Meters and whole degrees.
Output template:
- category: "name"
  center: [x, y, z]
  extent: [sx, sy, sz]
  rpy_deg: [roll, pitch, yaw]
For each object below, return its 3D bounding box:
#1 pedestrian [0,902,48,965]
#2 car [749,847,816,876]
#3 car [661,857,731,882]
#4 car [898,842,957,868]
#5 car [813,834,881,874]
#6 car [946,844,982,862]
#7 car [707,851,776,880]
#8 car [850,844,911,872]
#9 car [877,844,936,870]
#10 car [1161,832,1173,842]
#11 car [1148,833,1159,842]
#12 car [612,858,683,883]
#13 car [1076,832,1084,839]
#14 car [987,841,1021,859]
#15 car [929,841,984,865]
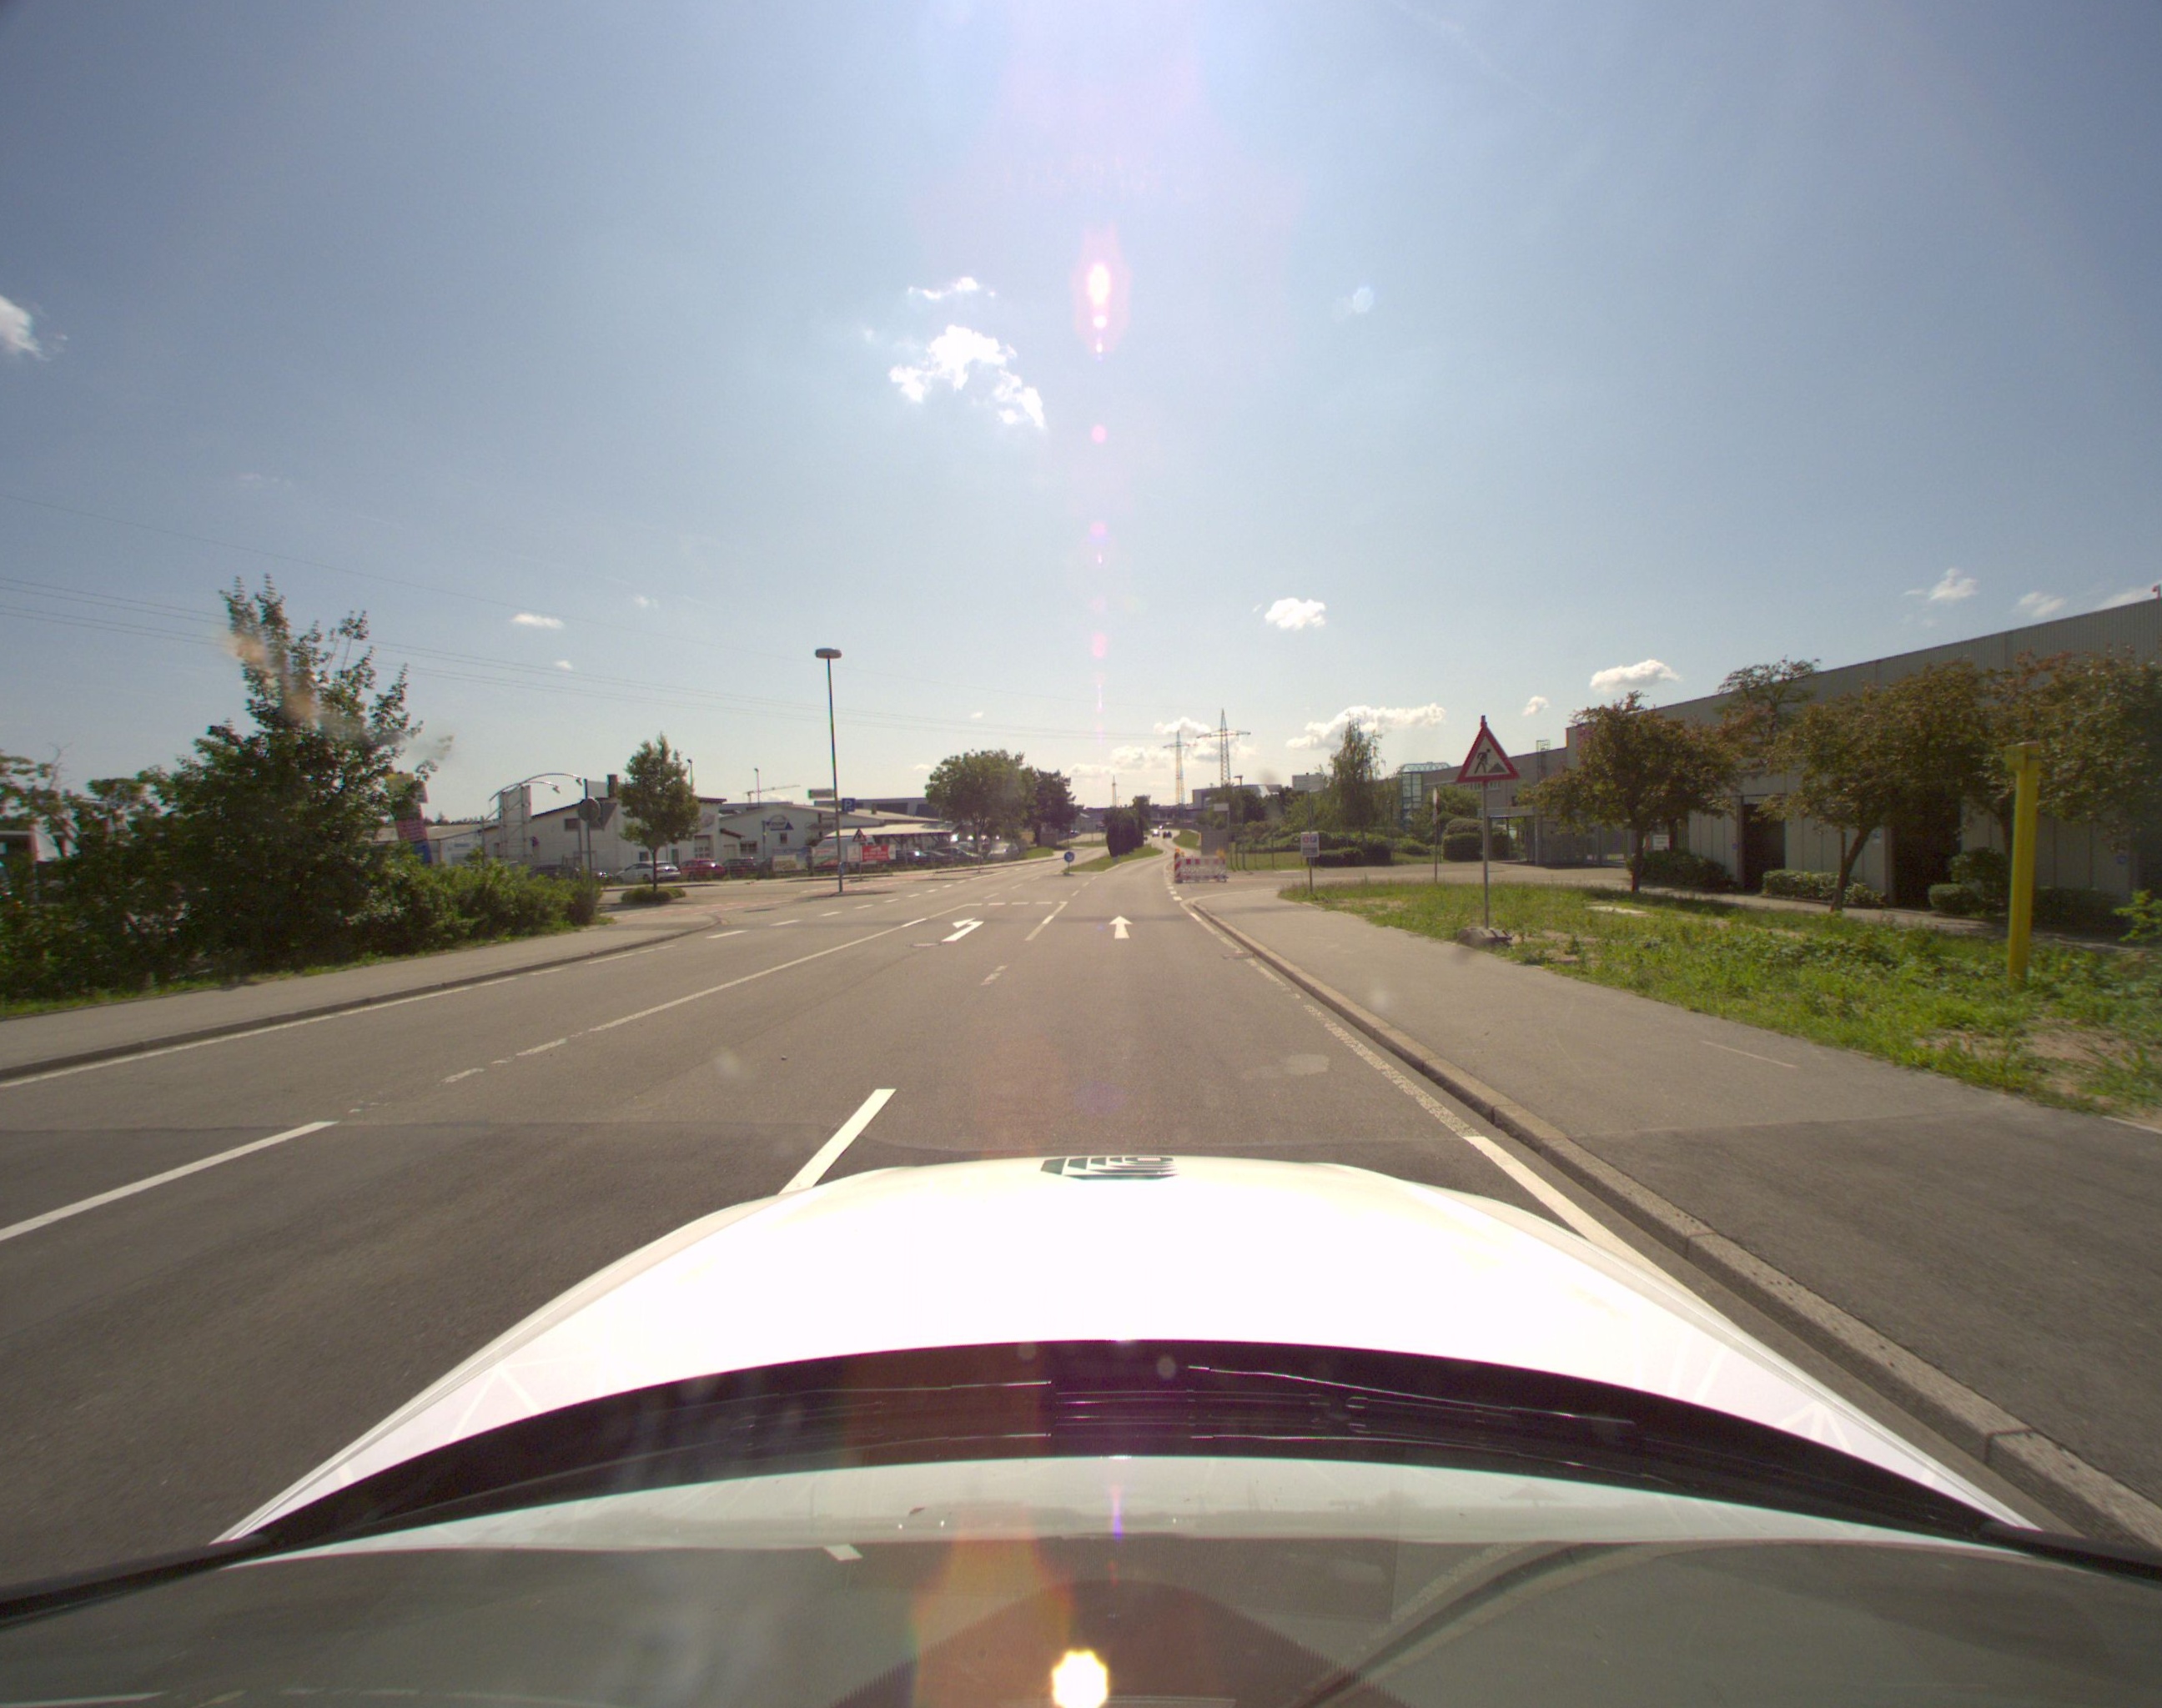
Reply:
- category: "pedestrian"
  center: [-33.282, 2.462, 25.386]
  extent: [0.828, 1.853, 1.009]
  rpy_deg: [-2, 0, 7]
- category: "car"
  center: [-19.206, 0.459, 52.410]
  extent: [3.948, 1.679, 2.013]
  rpy_deg: [0, 3, 33]
- category: "car"
  center: [-23.252, 0.935, 49.145]
  extent: [3.948, 1.376, 2.013]
  rpy_deg: [-2, 0, 32]
- category: "car"
  center: [-11.778, 0.061, 62.450]
  extent: [3.949, 1.903, 2.013]
  rpy_deg: [0, 2, 29]
- category: "car"
  center: [-16.159, 0.014, 56.146]
  extent: [4.309, 2.608, 2.013]
  rpy_deg: [-2, 0, 30]
- category: "car"
  center: [-13.558, -0.113, 94.339]
  extent: [3.986, 1.850, 1.829]
  rpy_deg: [-2, 1, -9]
- category: "car"
  center: [-21.085, 0.702, 50.580]
  extent: [3.948, 1.653, 2.013]
  rpy_deg: [0, 3, 33]
- category: "car"
  center: [-14.336, 0.276, 58.070]
  extent: [3.948, 1.903, 2.013]
  rpy_deg: [0, 3, 33]
- category: "car"
  center: [-12.969, 0.195, 60.365]
  extent: [3.948, 1.780, 2.013]
  rpy_deg: [0, 3, 33]
- category: "car"
  center: [17.879, -3.616, 169.506]
  extent: [2.261, 1.946, 4.671]
  rpy_deg: [1, 1, 4]
- category: "car"
  center: [17.567, -4.096, 196.896]
  extent: [2.481, 2.013, 4.669]
  rpy_deg: [-1, 2, 2]
- category: "car"
  center: [-25.500, 0.954, 47.875]
  extent: [3.882, 1.338, 1.736]
  rpy_deg: [-2, 0, 27]
- category: "car"
  center: [-0.399, -5.621, 244.736]
  extent: [1.984, 2.013, 4.006]
  rpy_deg: [-2, 1, 5]
- category: "car"
  center: [-6.946, -0.371, 73.904]
  extent: [1.814, 1.517, 3.604]
  rpy_deg: [-2, 1, 17]
- category: "car"
  center: [-10.225, -0.087, 66.859]
  extent: [3.951, 1.903, 2.012]
  rpy_deg: [0, 2, 23]
